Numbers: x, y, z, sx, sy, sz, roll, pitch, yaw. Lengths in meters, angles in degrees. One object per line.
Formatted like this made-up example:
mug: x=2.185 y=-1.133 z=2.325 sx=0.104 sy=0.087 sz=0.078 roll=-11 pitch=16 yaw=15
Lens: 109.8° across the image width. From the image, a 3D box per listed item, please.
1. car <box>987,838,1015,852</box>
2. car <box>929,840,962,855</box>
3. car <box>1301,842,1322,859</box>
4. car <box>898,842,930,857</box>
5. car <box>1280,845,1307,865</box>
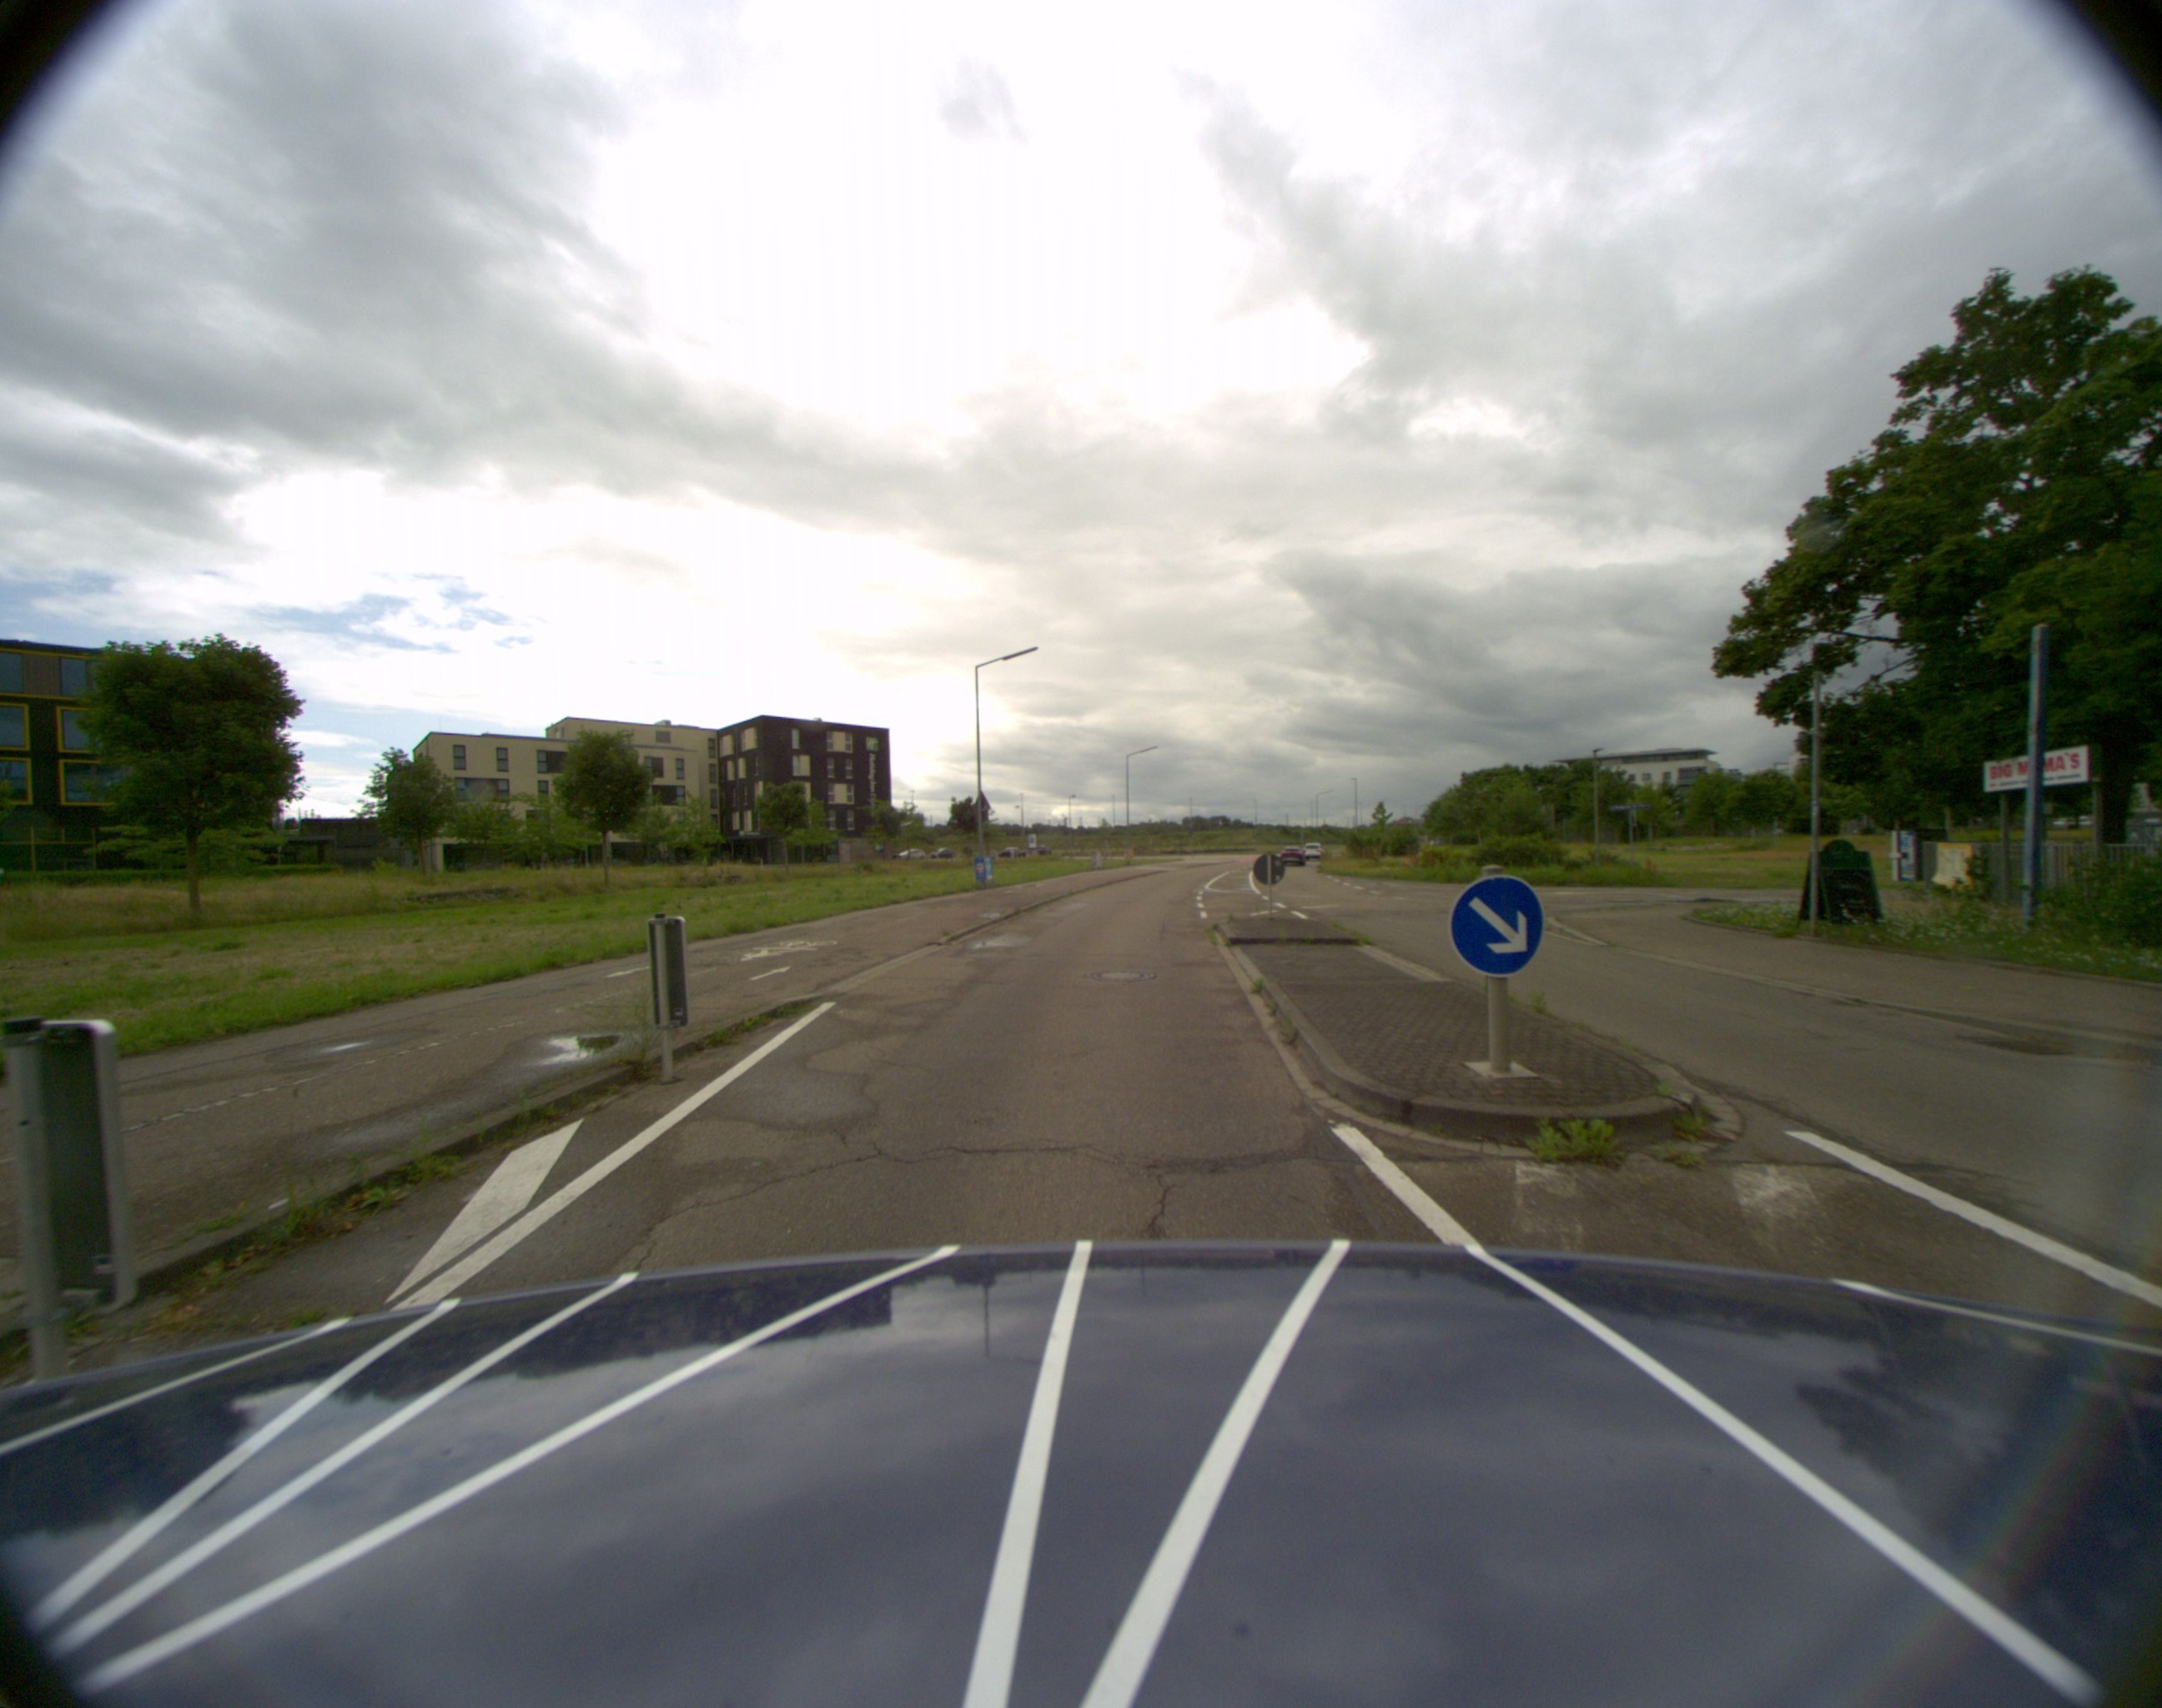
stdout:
car: x=-12.210 y=-1.356 z=116.601 sx=1.994 sy=2.002 sz=4.008 roll=0 pitch=1 yaw=40
car: x=-18.252 y=-0.855 z=102.603 sx=1.994 sy=2.002 sz=4.008 roll=0 pitch=2 yaw=43
car: x=22.159 y=-0.364 z=73.175 sx=1.840 sy=1.527 sz=4.004 roll=-1 pitch=1 yaw=17
car: x=-23.632 y=-0.670 z=107.779 sx=1.994 sy=2.002 sz=4.008 roll=0 pitch=2 yaw=43
car: x=16.680 y=0.047 z=59.805 sx=1.741 sy=1.444 sz=4.003 roll=-1 pitch=1 yaw=12
